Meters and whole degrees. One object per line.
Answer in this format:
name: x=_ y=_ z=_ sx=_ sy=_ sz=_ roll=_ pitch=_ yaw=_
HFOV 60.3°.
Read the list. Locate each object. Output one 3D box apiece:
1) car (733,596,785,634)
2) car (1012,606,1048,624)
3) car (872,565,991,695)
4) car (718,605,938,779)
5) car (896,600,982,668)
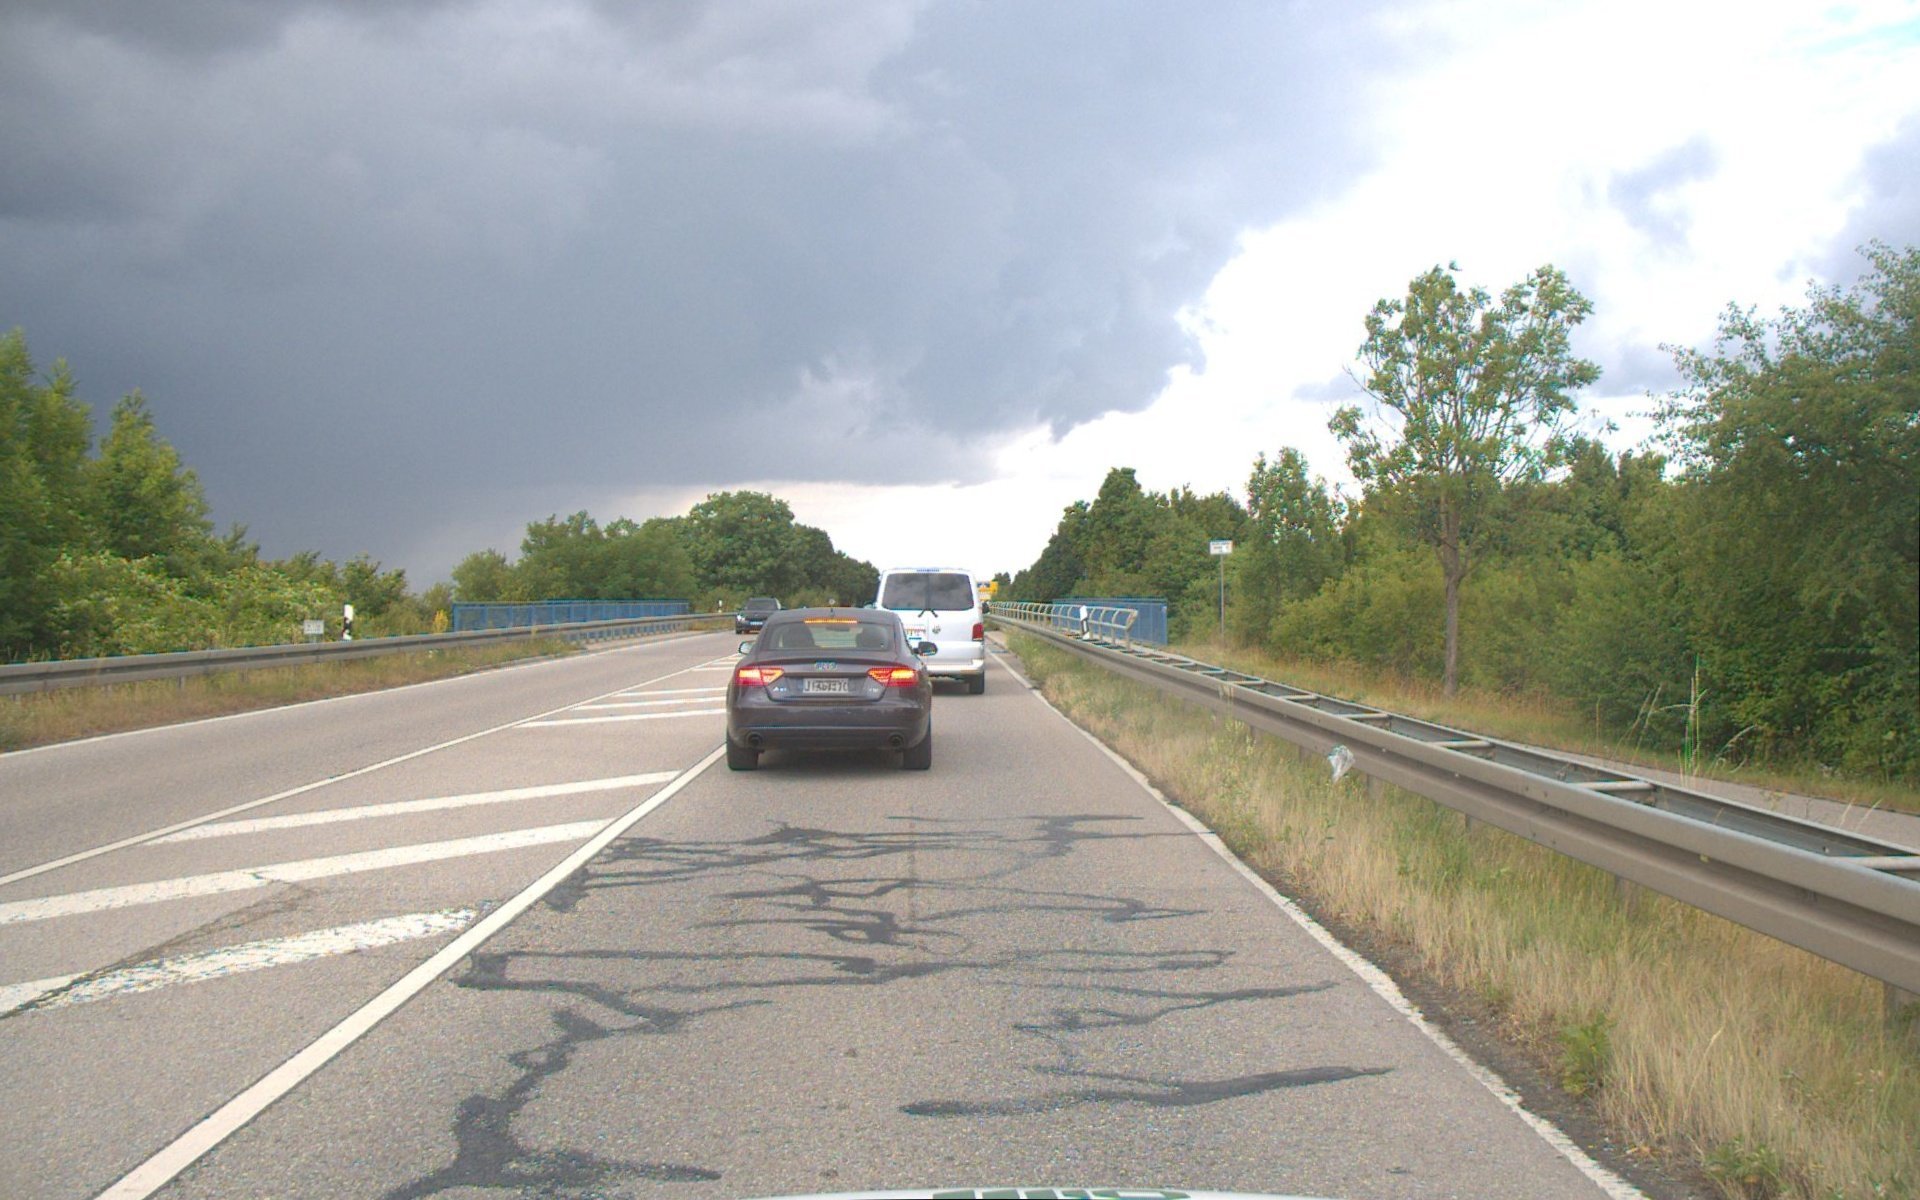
car: x=-8.293 y=0.605 z=68.405 sx=1.763 sy=1.475 sz=4.444 roll=-1 pitch=0 yaw=-2
car: x=8.531 y=1.824 z=201.777 sx=3.909 sy=2.049 sz=1.998 roll=1 pitch=-1 yaw=26
car: x=-0.473 y=0.468 z=27.341 sx=1.791 sy=1.969 sz=3.999 roll=-1 pitch=0 yaw=-1
car: x=-1.114 y=0.758 z=15.566 sx=1.784 sy=1.405 sz=4.071 roll=-1 pitch=0 yaw=-1
car: x=-0.442 y=0.709 z=36.390 sx=1.784 sy=1.405 sz=4.071 roll=0 pitch=0 yaw=0
